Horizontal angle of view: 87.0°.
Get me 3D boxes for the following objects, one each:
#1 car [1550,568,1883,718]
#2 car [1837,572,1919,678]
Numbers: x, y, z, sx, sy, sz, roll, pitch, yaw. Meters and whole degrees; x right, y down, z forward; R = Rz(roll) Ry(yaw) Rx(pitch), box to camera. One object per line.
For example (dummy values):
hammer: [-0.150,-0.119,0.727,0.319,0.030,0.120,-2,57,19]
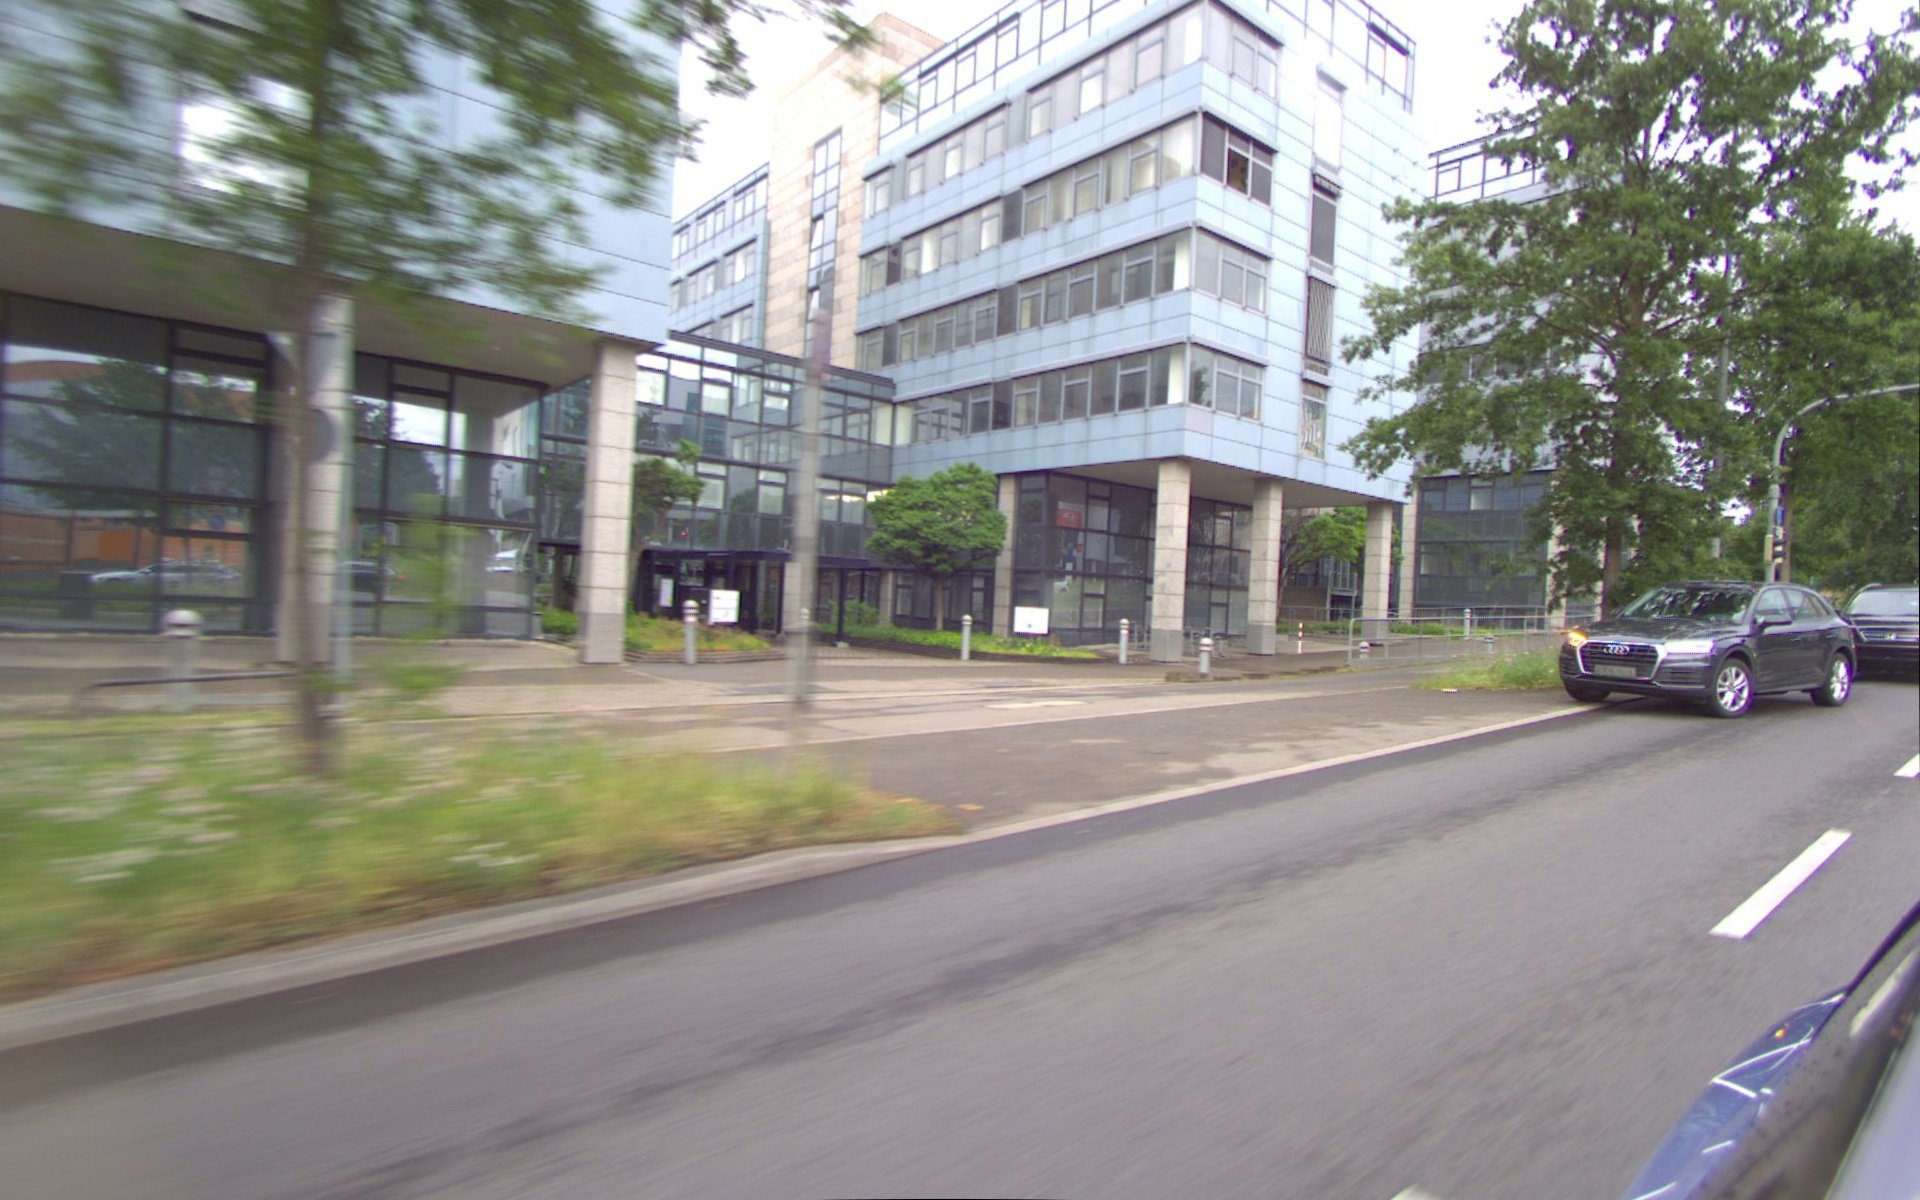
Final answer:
car: [9.938,0.479,13.257,4.281,1.691,1.820,0,0,-28]
car: [17.040,0.398,17.810,4.469,1.691,1.814,0,1,-41]
